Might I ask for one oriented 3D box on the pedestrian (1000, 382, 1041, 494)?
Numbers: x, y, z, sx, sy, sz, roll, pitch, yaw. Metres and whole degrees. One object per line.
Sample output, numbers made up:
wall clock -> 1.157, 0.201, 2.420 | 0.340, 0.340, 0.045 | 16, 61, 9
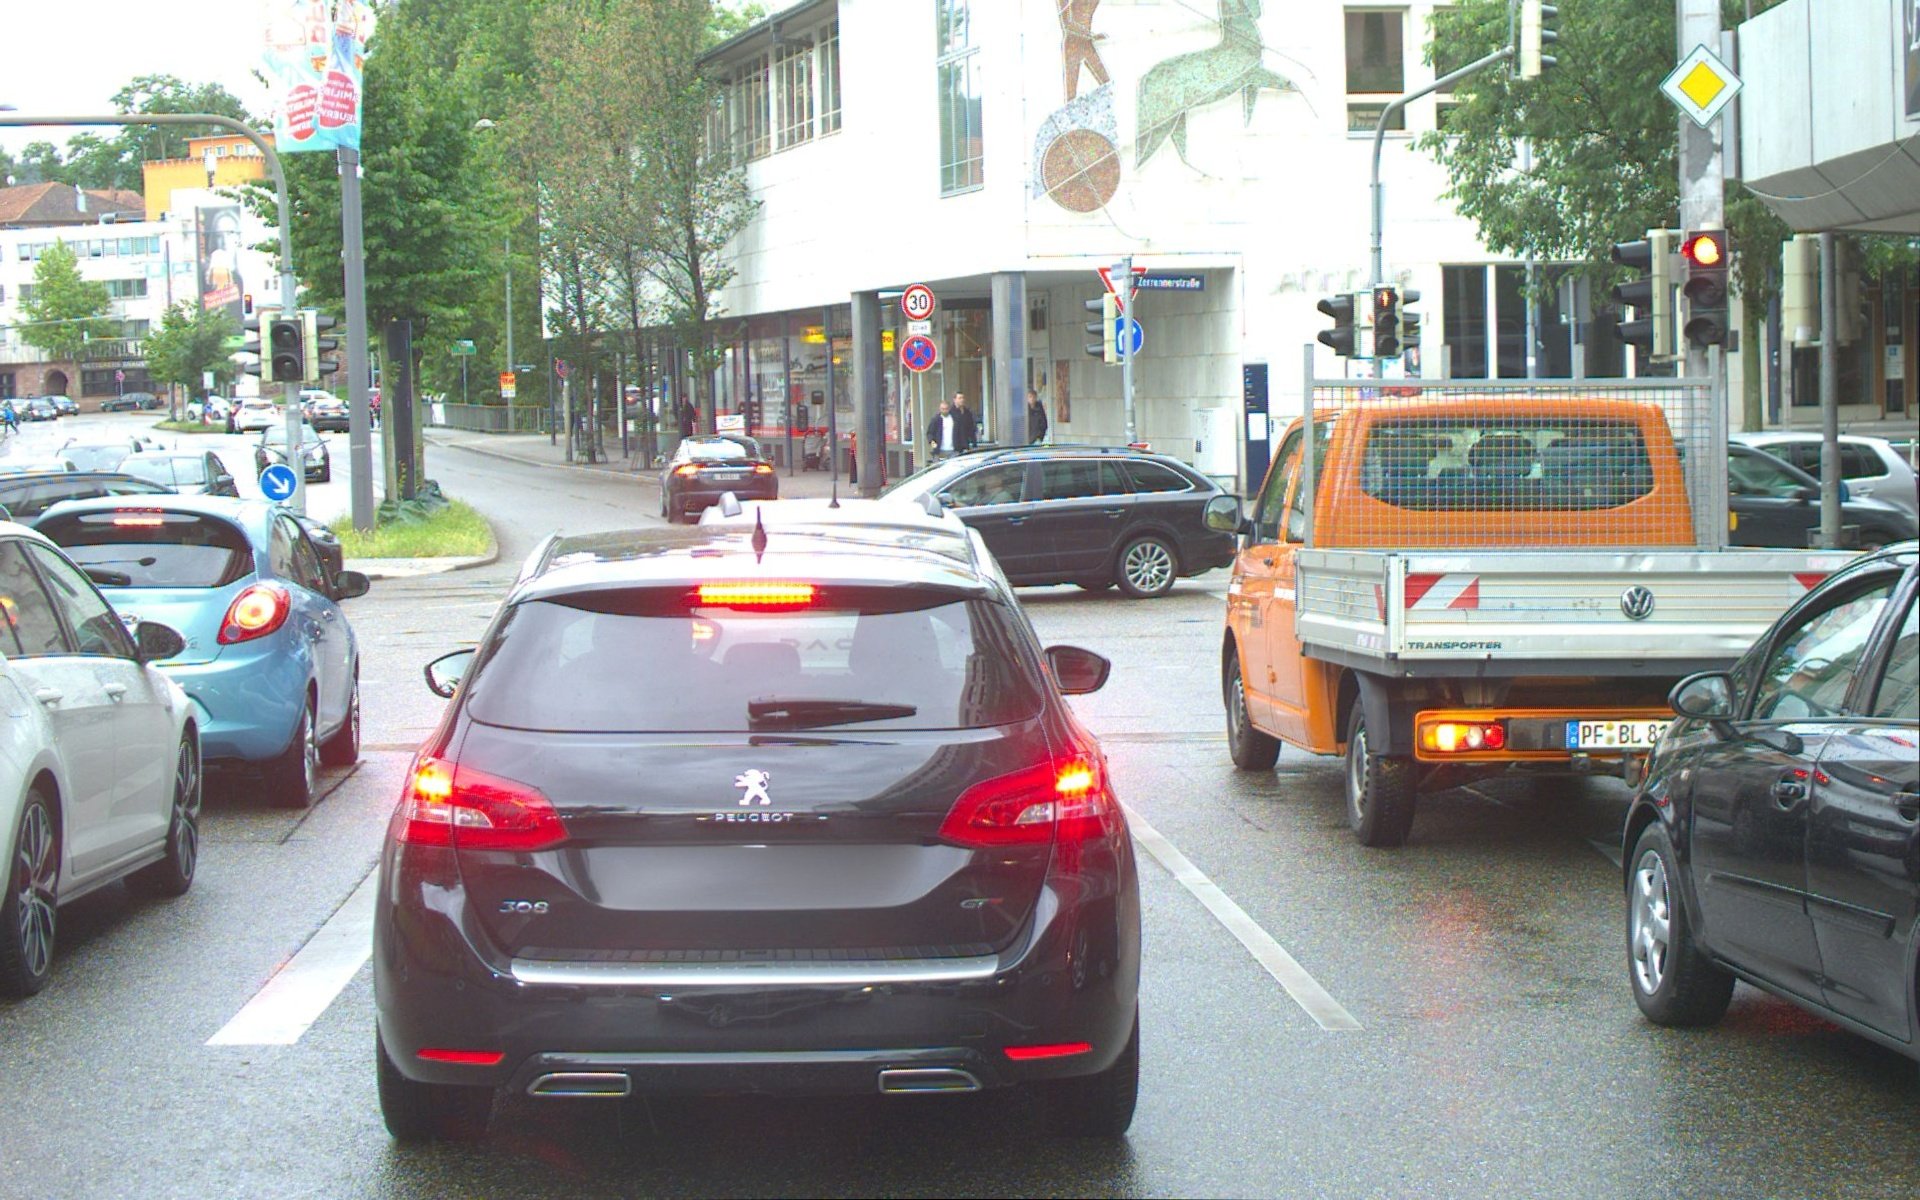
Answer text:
pedestrian -> 1.044, -2.792, 59.237 | 0.637, 1.891, 0.733 | 0, 0, 6

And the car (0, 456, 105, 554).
car -> -14.607, -1.527, 54.398 | 1.632, 1.481, 3.611 | 0, 2, -7

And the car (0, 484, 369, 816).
car -> -3.982, 0.173, 17.535 | 1.632, 1.481, 3.610 | 0, 2, -5

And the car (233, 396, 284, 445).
car -> -29.789, -7.601, 145.984 | 1.705, 1.875, 4.001 | 1, 0, -18

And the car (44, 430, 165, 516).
car -> -15.205, -2.268, 61.227 | 1.632, 1.481, 3.611 | 0, 2, -7

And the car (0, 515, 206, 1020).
car -> -3.741, 0.443, 11.500 | 1.777, 1.424, 3.843 | 0, 2, -3

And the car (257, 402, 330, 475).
car -> -16.763, -4.032, 86.452 | 1.744, 1.634, 4.001 | 1, 0, -11

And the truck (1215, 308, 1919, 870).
truck -> 2.574, -0.141, 15.846 | 2.177, 2.165, 5.021 | 1, 2, -3

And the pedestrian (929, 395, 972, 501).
pedestrian -> -0.152, -2.569, 58.169 | 0.637, 1.752, 0.733 | 0, 0, 6

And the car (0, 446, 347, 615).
car -> -8.606, -0.696, 34.358 | 4.491, 1.449, 1.793 | -4, 4, -25

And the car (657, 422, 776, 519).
car -> -4.221, -2.184, 59.021 | 1.724, 1.485, 4.734 | 1, 0, -8

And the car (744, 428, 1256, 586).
car -> 0.382, -0.913, 33.641 | 4.721, 1.481, 1.639 | 0, 2, -16

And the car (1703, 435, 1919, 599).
car -> 9.527, -0.833, 32.621 | 4.490, 1.449, 1.794 | -1, 3, -9

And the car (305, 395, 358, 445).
car -> -26.885, -7.694, 147.049 | 1.705, 1.929, 4.001 | 1, 0, -18

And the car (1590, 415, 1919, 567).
car -> 8.726, -1.114, 35.871 | 3.894, 1.481, 1.624 | 1, 0, -12

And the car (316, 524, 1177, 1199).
car -> -0.523, 0.540, 9.061 | 1.777, 1.424, 3.843 | 0, 2, -2

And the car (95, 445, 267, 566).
car -> -10.926, -1.297, 48.451 | 1.744, 1.574, 4.000 | 1, 0, -4

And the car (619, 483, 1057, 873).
car -> -0.503, 0.241, 15.315 | 1.696, 1.481, 3.794 | 1, 2, -1

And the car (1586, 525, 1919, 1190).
car -> 2.851, 0.552, 8.668 | 1.616, 1.424, 3.843 | 0, 2, -3
